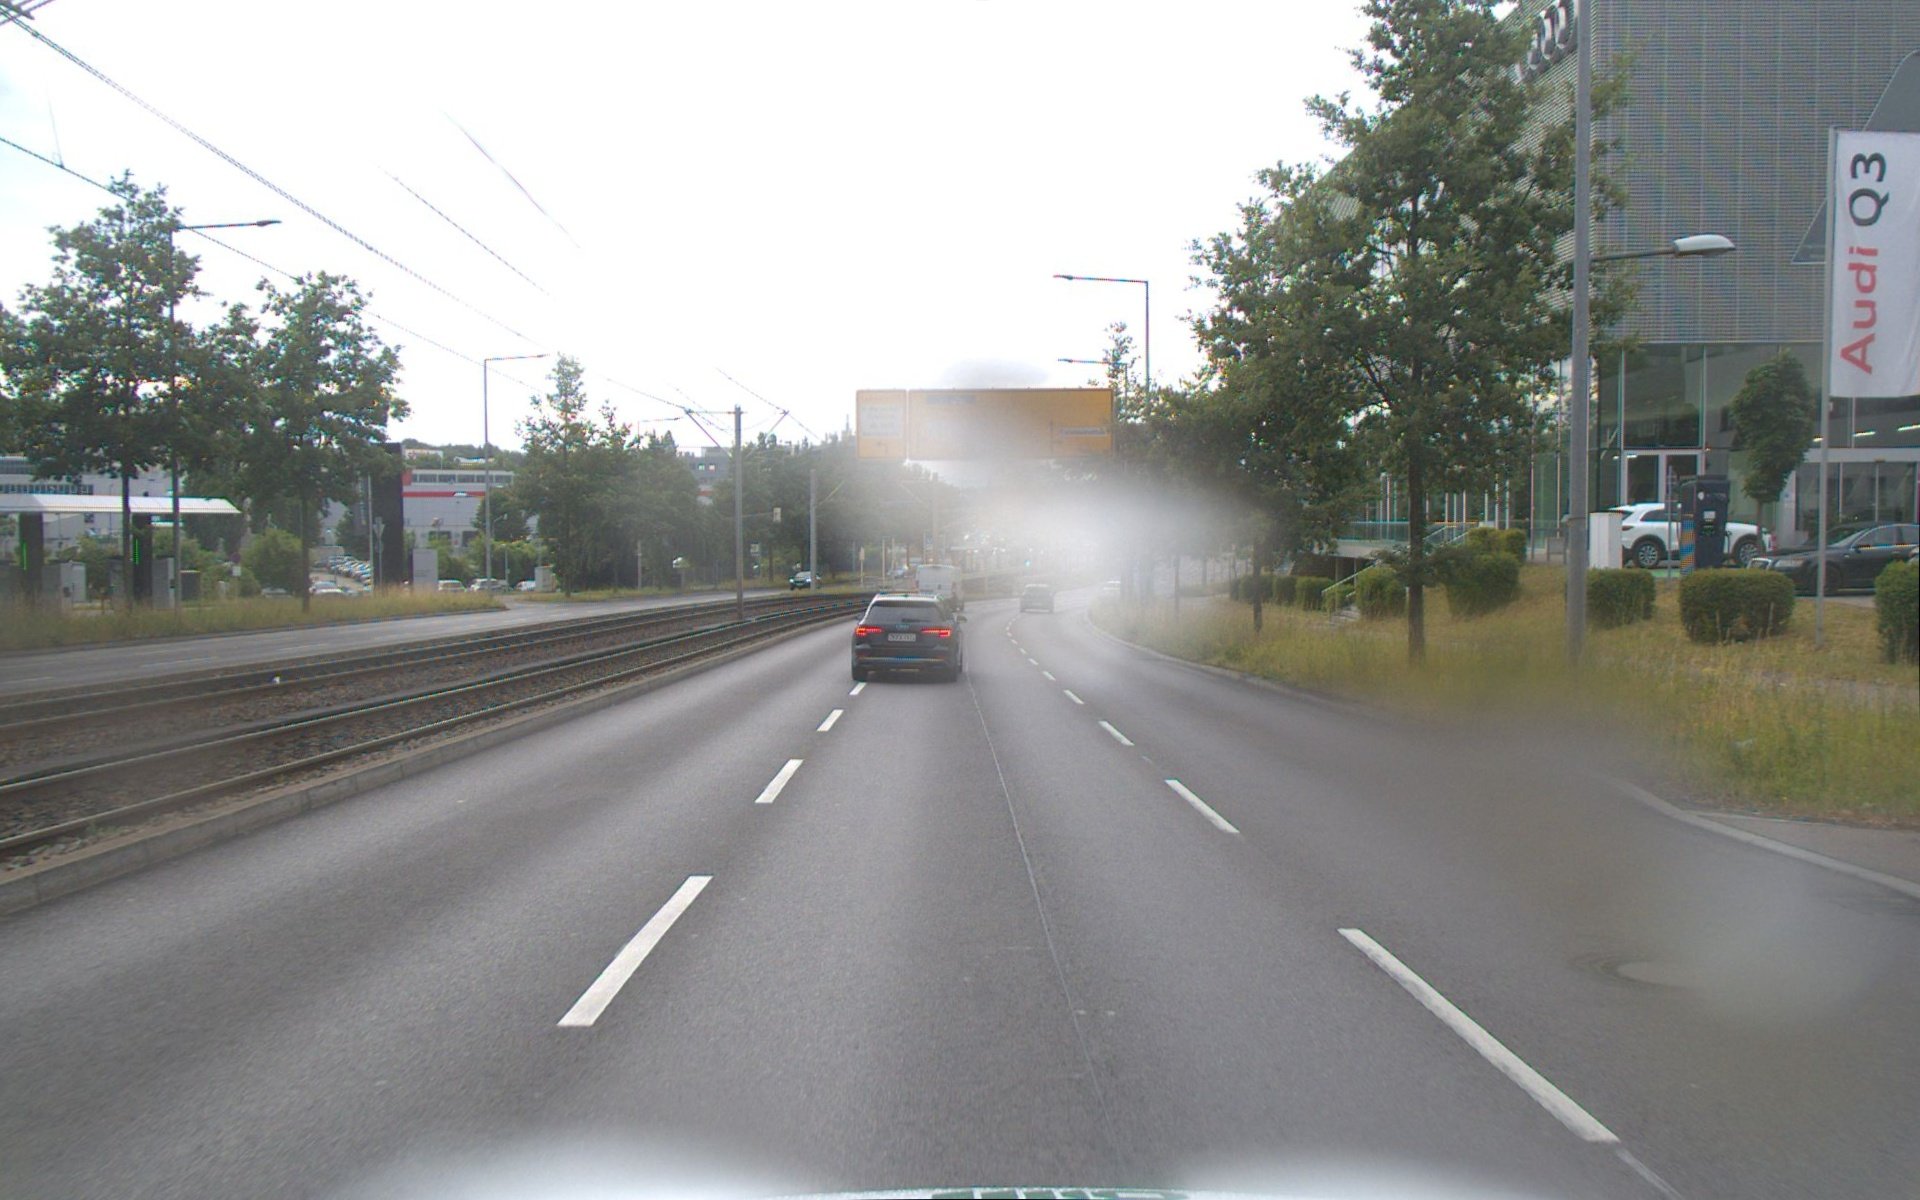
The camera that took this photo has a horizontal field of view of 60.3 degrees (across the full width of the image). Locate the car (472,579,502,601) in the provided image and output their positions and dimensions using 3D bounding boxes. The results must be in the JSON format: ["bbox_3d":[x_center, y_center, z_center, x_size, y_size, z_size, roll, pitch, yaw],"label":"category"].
[{"bbox_3d":[-34.702,-0.741,121.223,1.727,1.520,3.974,2,-1,-21],"label":"car"}]

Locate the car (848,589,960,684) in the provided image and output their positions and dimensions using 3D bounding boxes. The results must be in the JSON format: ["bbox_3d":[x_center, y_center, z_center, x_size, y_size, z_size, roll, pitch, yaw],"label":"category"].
[{"bbox_3d":[-0.895,0.573,28.706,1.728,1.489,4.627,1,0,0],"label":"car"}]

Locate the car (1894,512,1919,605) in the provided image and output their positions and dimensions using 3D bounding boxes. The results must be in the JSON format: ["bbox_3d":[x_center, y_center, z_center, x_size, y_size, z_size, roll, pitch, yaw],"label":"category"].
[{"bbox_3d":[18.583,-0.689,28.508,4.022,1.601,1.692,1,1,-2],"label":"car"}]

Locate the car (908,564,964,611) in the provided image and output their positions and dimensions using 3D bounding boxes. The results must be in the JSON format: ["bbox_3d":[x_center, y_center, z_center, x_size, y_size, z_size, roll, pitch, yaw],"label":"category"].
[{"bbox_3d":[-1.154,-0.605,82.759,2.459,2.215,5.150,2,0,2],"label":"car"}]

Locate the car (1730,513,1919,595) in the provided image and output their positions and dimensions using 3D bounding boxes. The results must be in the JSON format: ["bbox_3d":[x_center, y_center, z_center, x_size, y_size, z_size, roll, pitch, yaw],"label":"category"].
[{"bbox_3d":[18.300,-0.919,33.814,4.331,1.601,1.692,1,1,-2],"label":"car"}]

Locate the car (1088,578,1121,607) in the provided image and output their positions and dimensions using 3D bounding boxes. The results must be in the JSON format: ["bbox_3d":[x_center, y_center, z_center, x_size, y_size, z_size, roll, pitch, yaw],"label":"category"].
[{"bbox_3d":[10.216,-0.573,116.453,1.978,1.800,4.005,1,3,9],"label":"car"}]

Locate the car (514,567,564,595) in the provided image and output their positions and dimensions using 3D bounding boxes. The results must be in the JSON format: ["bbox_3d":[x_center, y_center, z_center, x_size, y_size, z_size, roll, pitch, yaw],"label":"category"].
[{"bbox_3d":[-27.369,-1.213,107.586,1.951,1.679,4.002,2,0,4],"label":"car"}]

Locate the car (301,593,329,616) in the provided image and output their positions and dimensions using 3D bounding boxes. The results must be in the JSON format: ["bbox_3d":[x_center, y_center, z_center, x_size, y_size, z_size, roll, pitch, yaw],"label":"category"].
[{"bbox_3d":[-45.154,0.309,115.824,1.727,1.520,3.974,2,-1,-21],"label":"car"}]

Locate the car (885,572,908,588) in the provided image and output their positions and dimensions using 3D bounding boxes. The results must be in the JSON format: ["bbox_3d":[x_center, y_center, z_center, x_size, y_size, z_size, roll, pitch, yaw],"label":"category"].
[{"bbox_3d":[-6.928,-2.226,180.562,1.951,1.709,4.003,2,1,7],"label":"car"}]

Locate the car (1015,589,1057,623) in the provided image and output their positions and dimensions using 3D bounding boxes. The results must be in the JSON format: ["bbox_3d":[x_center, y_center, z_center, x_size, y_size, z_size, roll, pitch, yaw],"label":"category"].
[{"bbox_3d":[4.007,0.334,86.259,1.978,1.651,4.002,2,0,5],"label":"car"}]

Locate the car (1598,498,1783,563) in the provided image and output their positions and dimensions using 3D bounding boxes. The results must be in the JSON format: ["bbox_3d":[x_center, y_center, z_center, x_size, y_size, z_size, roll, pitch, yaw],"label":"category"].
[{"bbox_3d":[19.414,-1.837,44.052,4.173,1.601,1.692,1,1,-2],"label":"car"}]

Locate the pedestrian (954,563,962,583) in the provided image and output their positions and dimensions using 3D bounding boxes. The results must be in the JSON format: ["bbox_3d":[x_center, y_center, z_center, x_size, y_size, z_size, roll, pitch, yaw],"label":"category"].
[{"bbox_3d":[-0.196,-2.632,159.617,0.623,1.886,0.751,1,-1,11],"label":"pedestrian"}]

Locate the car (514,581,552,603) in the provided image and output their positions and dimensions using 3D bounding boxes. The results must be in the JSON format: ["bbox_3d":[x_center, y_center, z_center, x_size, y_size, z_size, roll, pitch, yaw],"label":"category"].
[{"bbox_3d":[-31.681,-0.594,122.566,1.969,1.536,3.967,2,-1,-26],"label":"car"}]

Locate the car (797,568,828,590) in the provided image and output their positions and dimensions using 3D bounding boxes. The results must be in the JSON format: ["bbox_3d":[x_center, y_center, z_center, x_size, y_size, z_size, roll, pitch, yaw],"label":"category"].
[{"bbox_3d":[-11.492,-1.647,129.307,1.844,1.547,4.405,-3,1,2],"label":"car"}]

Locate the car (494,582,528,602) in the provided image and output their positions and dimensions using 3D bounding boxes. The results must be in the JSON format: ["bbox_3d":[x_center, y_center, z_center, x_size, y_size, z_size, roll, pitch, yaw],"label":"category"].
[{"bbox_3d":[-36.308,-0.644,133.717,1.969,1.536,3.967,2,-1,-26],"label":"car"}]

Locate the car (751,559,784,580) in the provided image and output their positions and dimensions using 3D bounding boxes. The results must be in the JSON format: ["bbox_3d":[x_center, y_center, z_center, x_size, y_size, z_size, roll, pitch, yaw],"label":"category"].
[{"bbox_3d":[-19.583,-3.074,168.343,1.951,2.049,4.003,2,0,14],"label":"car"}]
